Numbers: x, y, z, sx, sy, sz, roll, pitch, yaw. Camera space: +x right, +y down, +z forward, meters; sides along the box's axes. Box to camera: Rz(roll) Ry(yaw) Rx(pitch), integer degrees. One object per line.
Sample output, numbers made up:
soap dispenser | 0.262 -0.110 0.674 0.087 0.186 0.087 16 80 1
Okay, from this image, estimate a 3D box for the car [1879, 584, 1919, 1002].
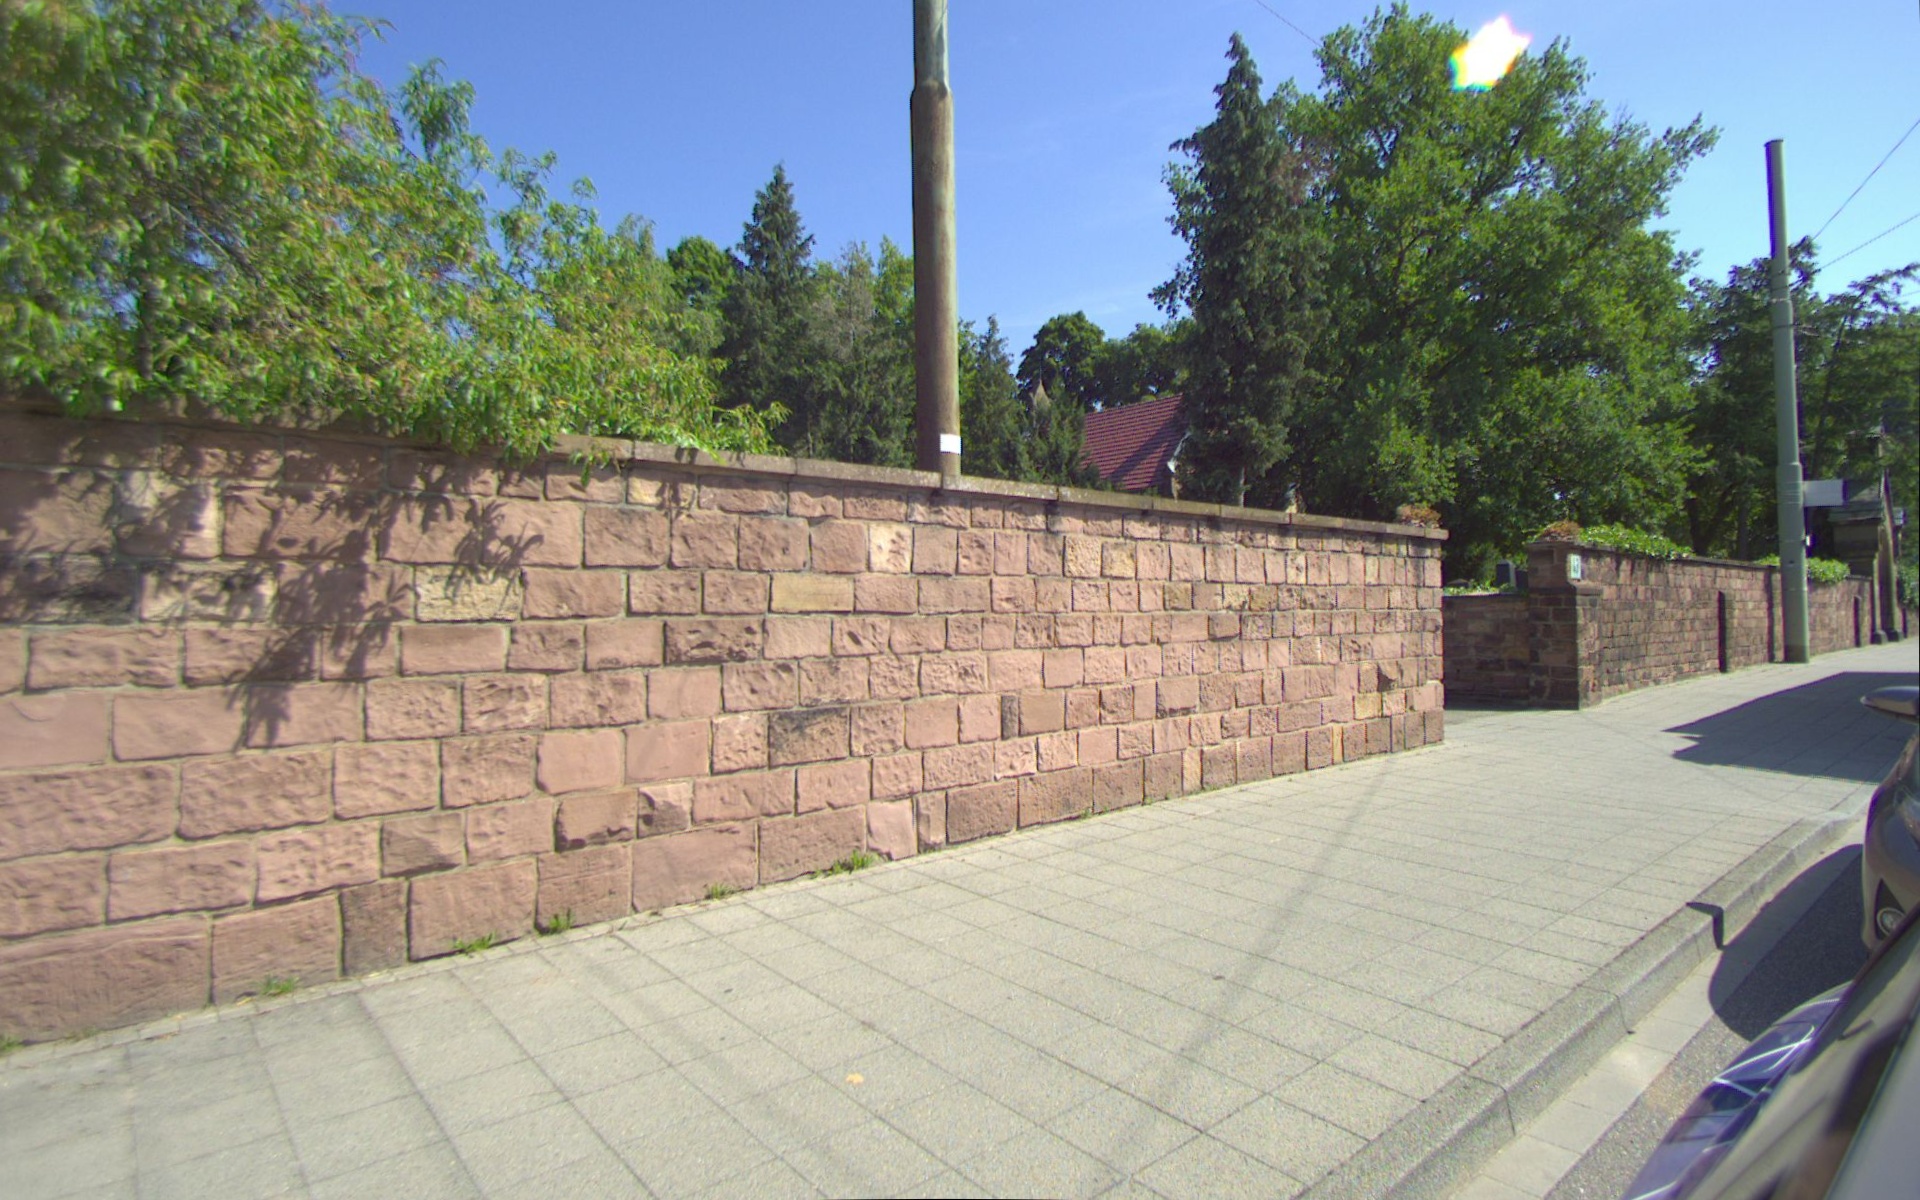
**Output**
car | 5.156 0.643 4.128 3.930 1.400 1.653 0 1 -41
